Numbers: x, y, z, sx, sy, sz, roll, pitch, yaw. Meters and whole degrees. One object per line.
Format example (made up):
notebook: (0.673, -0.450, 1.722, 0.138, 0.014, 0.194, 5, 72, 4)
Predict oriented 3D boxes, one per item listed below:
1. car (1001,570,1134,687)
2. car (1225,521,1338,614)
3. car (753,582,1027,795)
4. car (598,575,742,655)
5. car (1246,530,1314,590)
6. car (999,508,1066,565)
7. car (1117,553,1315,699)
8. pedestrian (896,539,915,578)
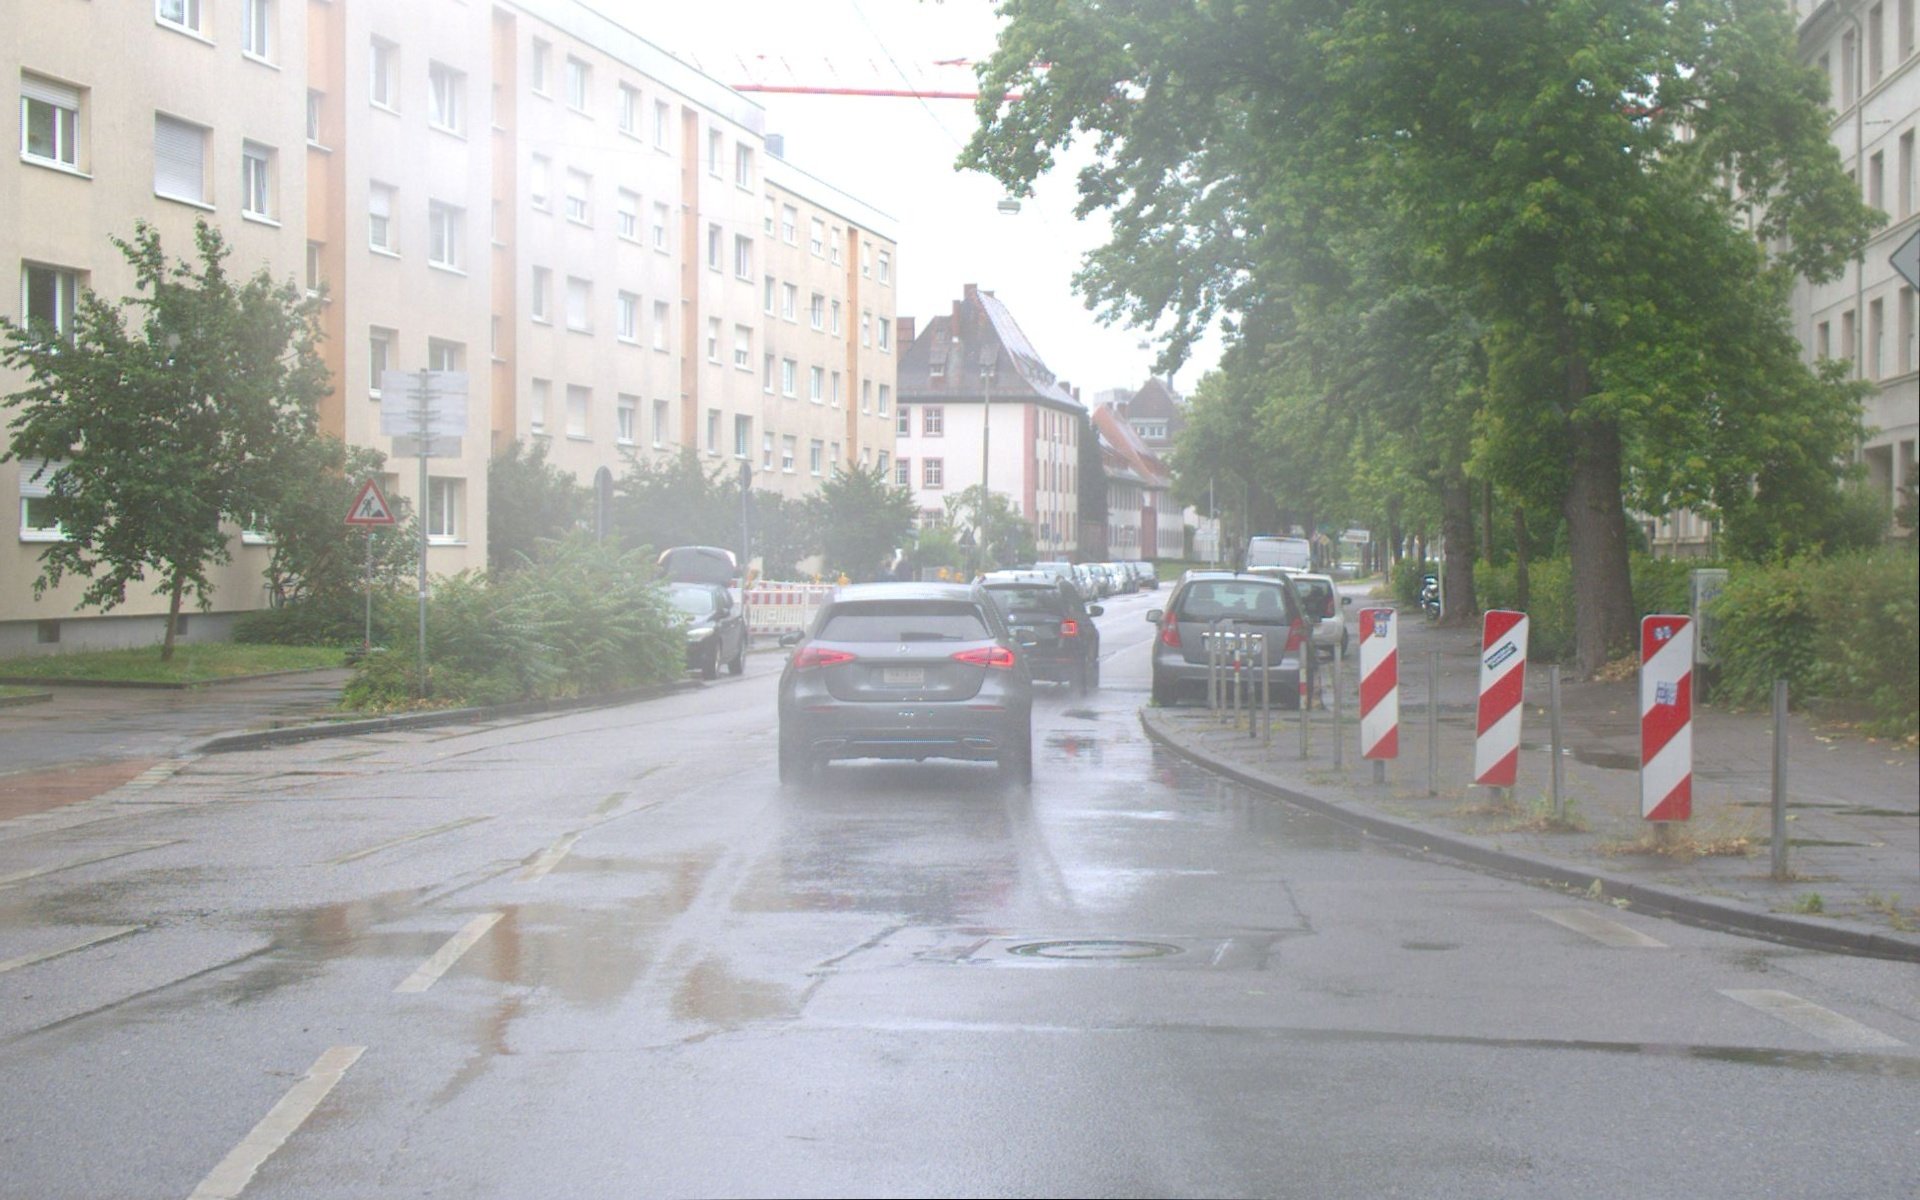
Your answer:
car: (1.372, 0.327, 43.711, 1.607, 1.368, 4.000, -1, 1, 2)
car: (5.636, -0.576, 60.118, 1.890, 1.568, 3.999, 0, 0, 6)
car: (-0.444, 0.592, 25.174, 1.791, 1.368, 3.507, 1, 1, 2)
car: (-4.515, 0.210, 53.956, 1.590, 1.202, 3.459, 0, 0, 7)
car: (9.953, -1.231, 106.677, 2.047, 1.830, 4.791, 0, 0, 6)
car: (2.435, -2.097, 114.457, 1.890, 1.830, 3.999, 0, 0, 6)
car: (2.833, 0.262, 38.801, 1.993, 1.568, 4.000, 0, 0, 1)
pedestrian: (-1.913, -1.455, 120.680, 0.529, 1.352, 0.585, 2, 0, 10)
